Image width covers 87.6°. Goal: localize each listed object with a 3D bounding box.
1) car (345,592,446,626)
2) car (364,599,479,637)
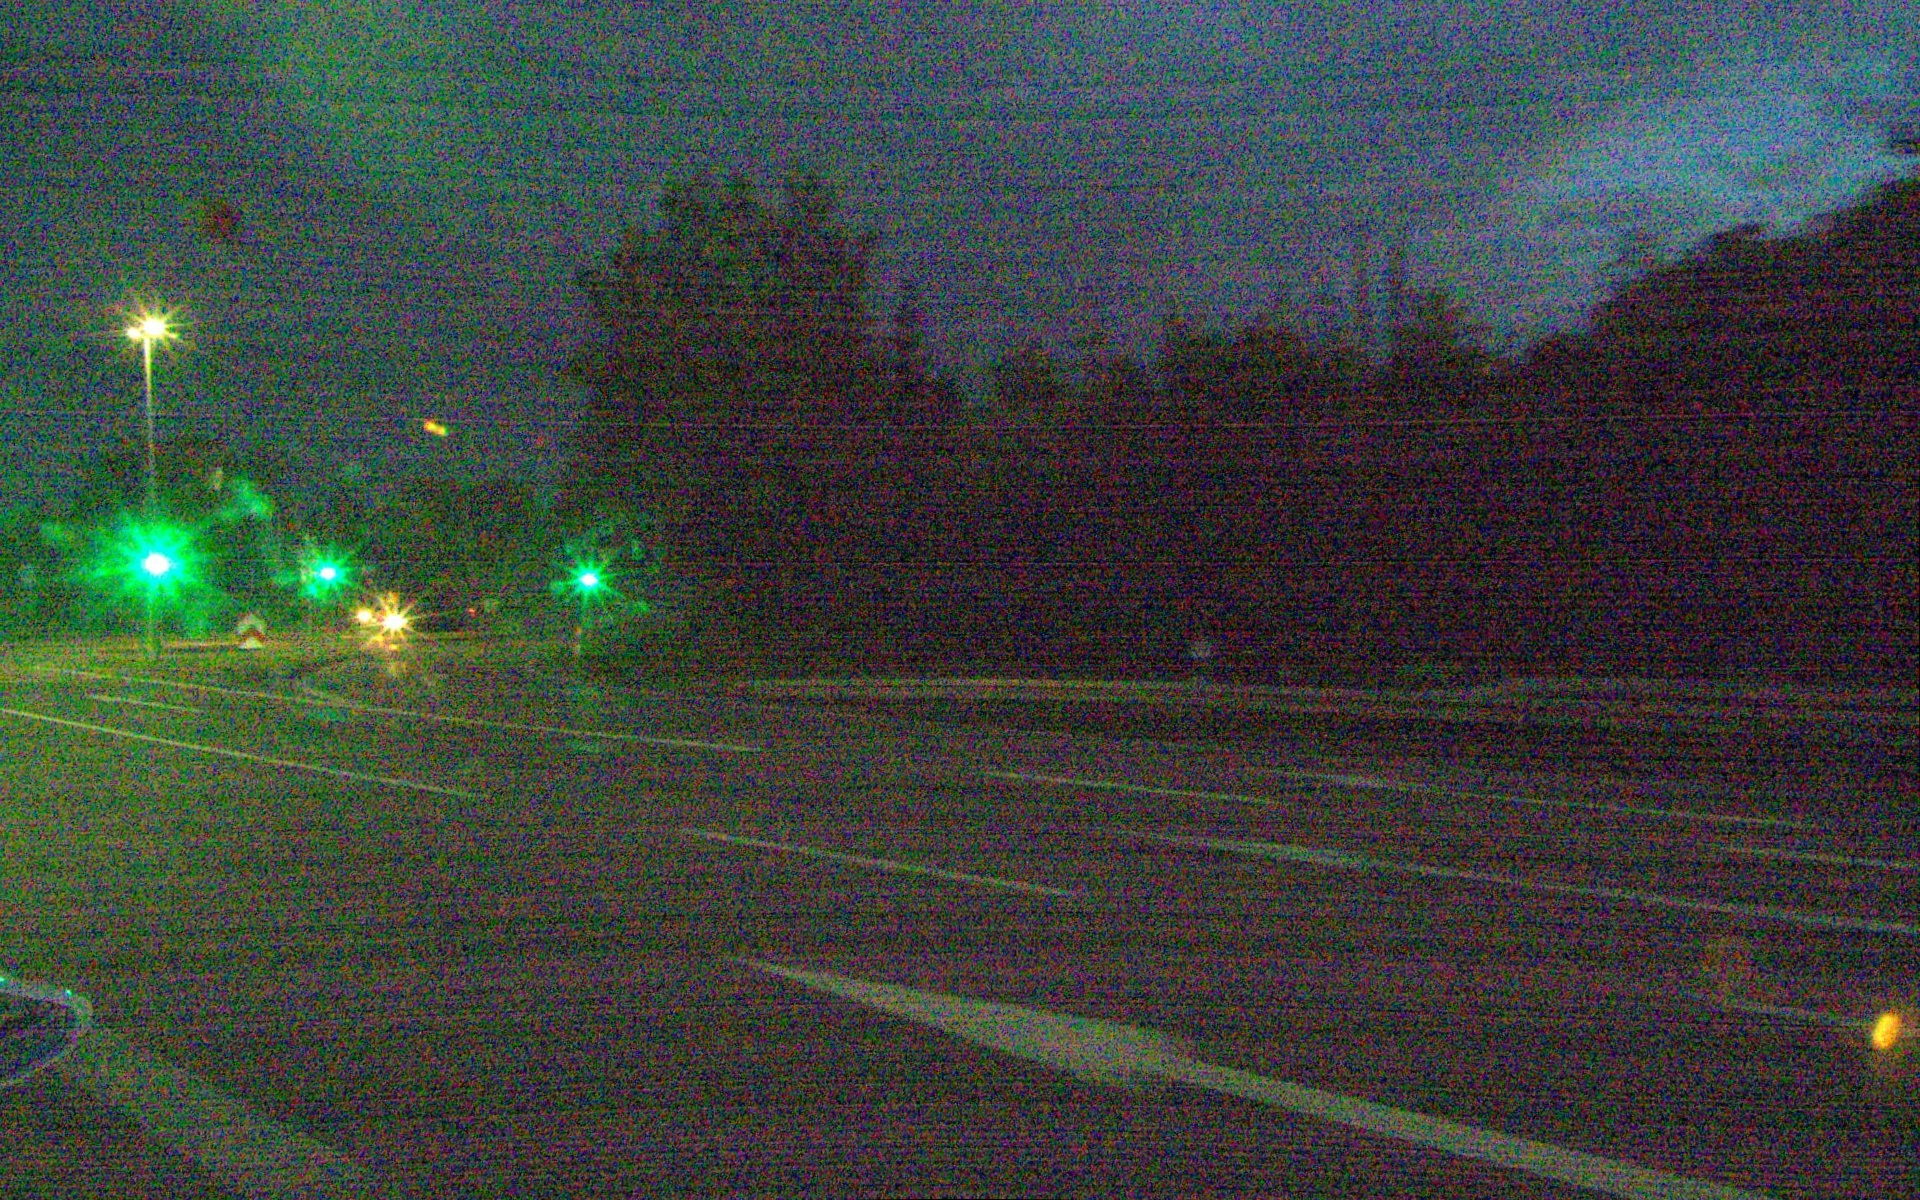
[{"bbox_3d":[-27.945,0.423,49.647,1.872,1.590,3.981,1,1,30],"label":"car"},{"bbox_3d":[-23.685,0.773,44.143,1.972,1.590,4.068,1,0,30],"label":"car"}]
